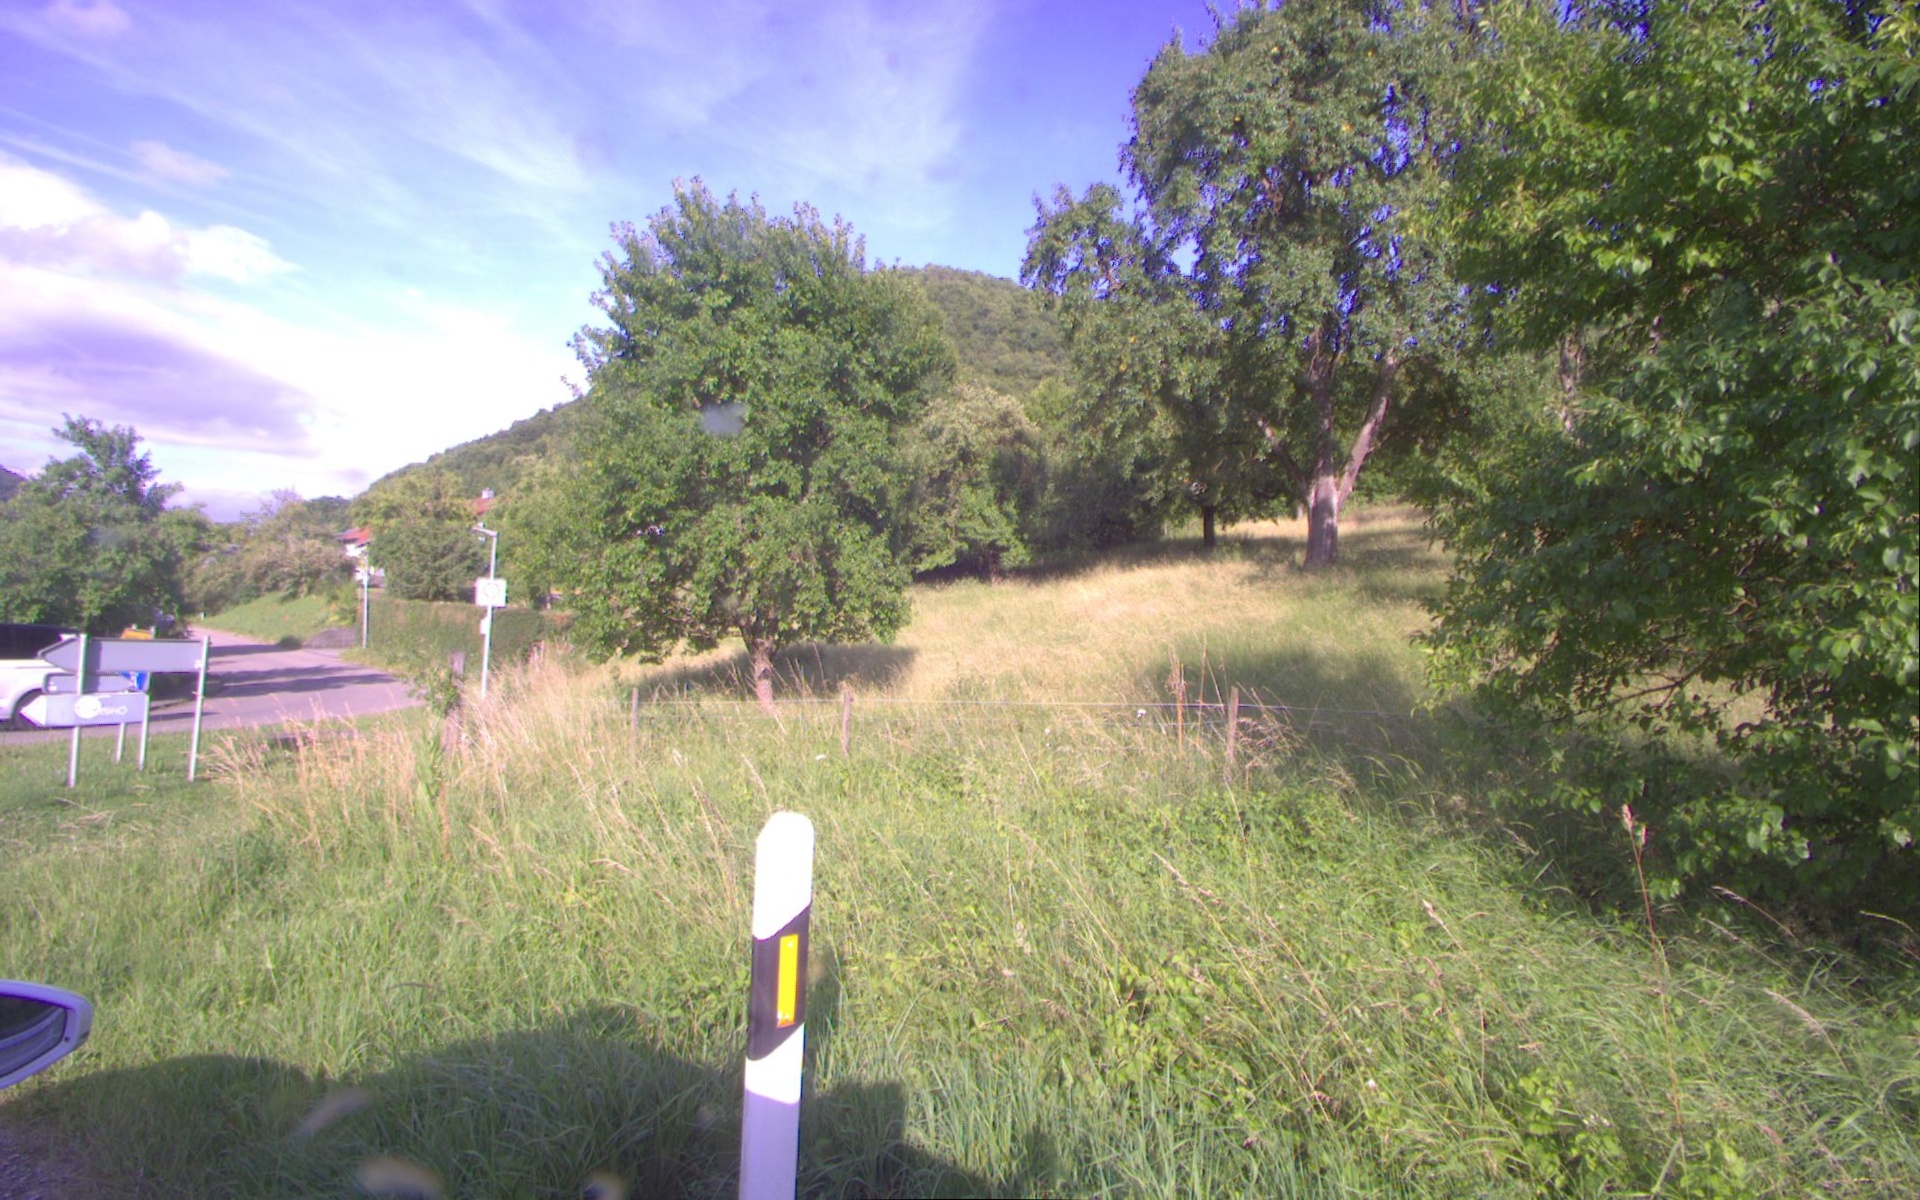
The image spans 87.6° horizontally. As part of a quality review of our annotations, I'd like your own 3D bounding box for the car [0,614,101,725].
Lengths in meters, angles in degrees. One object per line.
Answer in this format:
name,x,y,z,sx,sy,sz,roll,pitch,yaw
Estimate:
car,-17.672,1.124,16.575,1.964,1.900,4.866,1,-3,19
